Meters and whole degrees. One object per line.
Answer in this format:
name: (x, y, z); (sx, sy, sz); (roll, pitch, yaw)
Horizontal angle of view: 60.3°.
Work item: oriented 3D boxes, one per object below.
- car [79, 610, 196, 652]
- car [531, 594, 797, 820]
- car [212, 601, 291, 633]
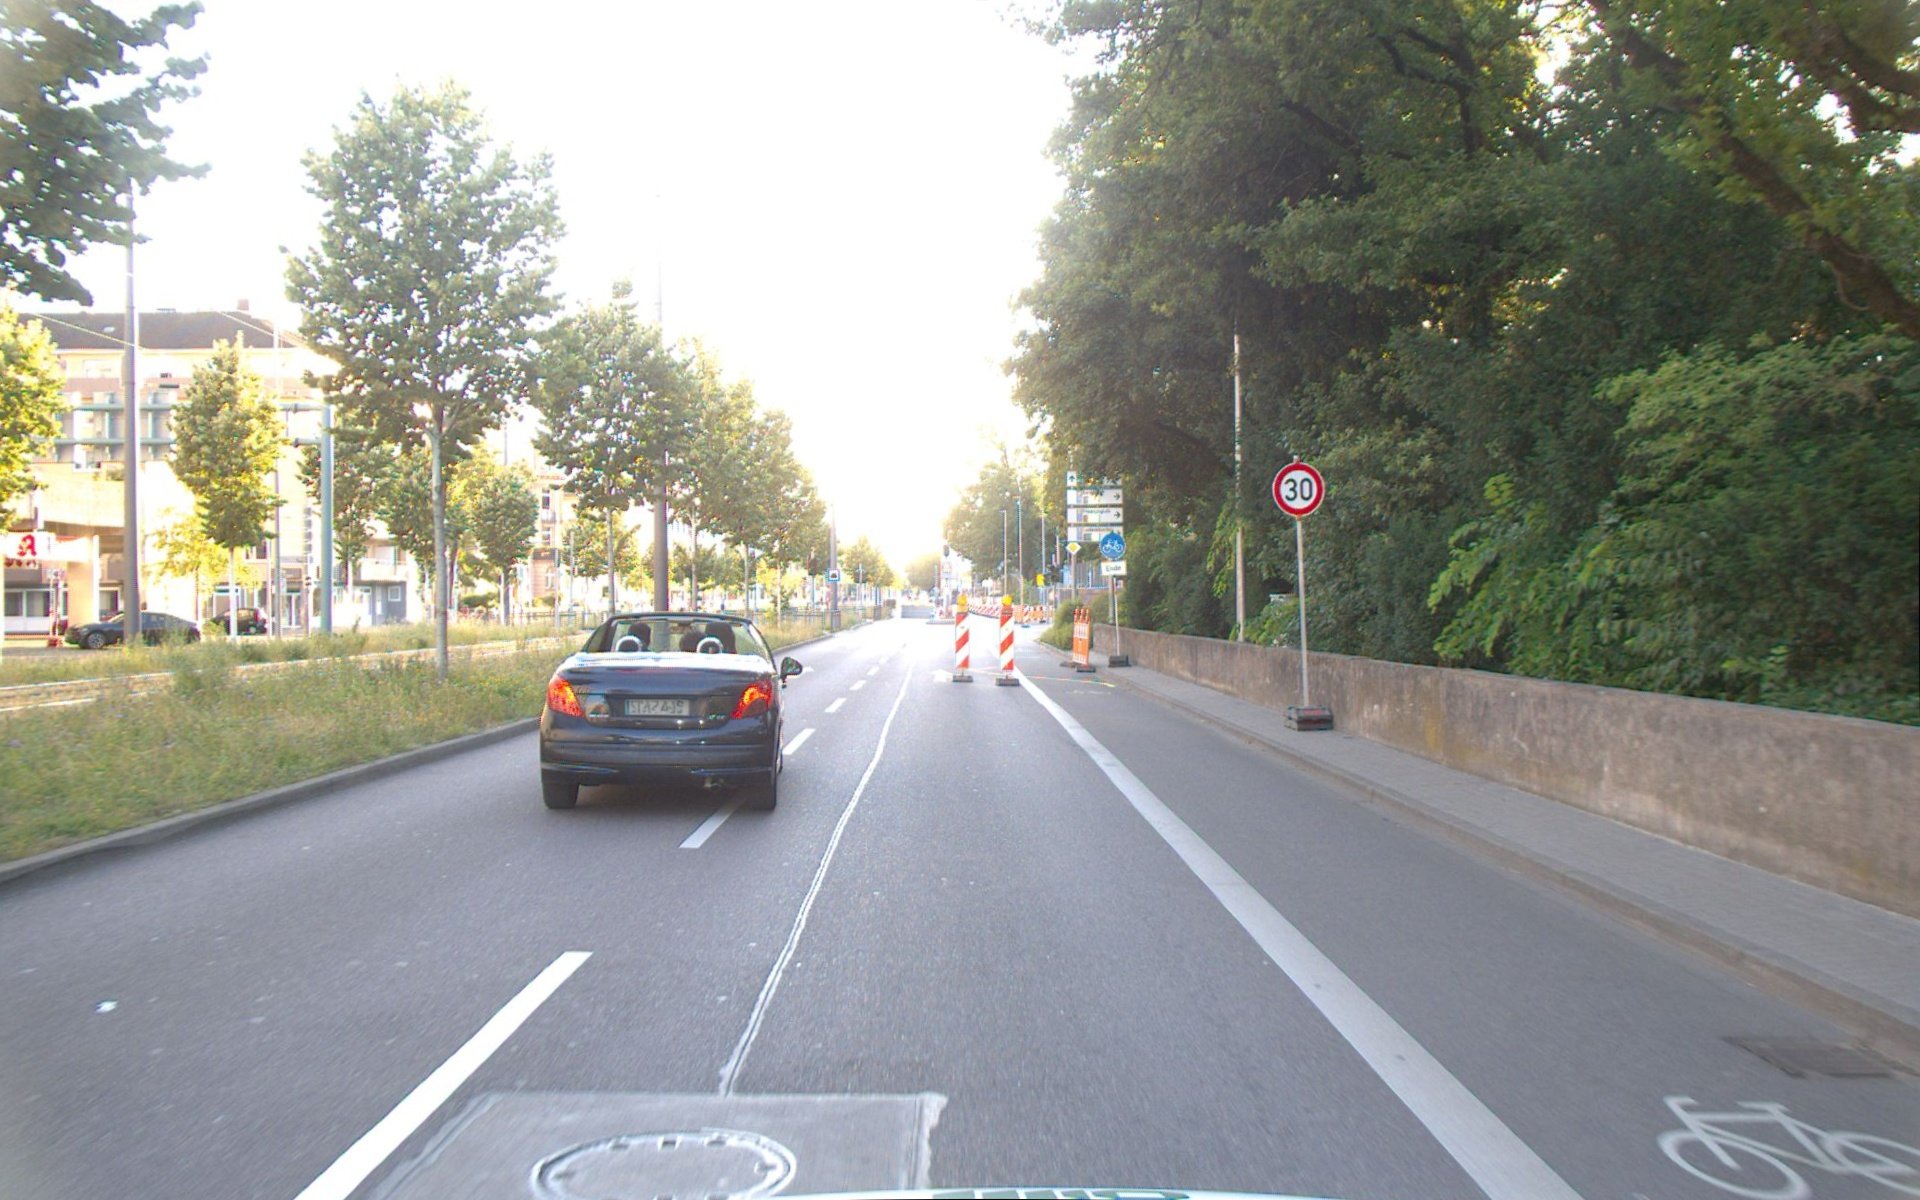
car: (-31.819, 1.190, 64.021); (3.701, 1.475, 1.716); (-1, -1, -44)
car: (-2.155, 0.711, 12.955); (1.685, 1.475, 3.897); (1, 0, -5)
car: (-42.854, 1.000, 100.122); (3.854, 1.878, 2.191); (-1, 0, -2)
